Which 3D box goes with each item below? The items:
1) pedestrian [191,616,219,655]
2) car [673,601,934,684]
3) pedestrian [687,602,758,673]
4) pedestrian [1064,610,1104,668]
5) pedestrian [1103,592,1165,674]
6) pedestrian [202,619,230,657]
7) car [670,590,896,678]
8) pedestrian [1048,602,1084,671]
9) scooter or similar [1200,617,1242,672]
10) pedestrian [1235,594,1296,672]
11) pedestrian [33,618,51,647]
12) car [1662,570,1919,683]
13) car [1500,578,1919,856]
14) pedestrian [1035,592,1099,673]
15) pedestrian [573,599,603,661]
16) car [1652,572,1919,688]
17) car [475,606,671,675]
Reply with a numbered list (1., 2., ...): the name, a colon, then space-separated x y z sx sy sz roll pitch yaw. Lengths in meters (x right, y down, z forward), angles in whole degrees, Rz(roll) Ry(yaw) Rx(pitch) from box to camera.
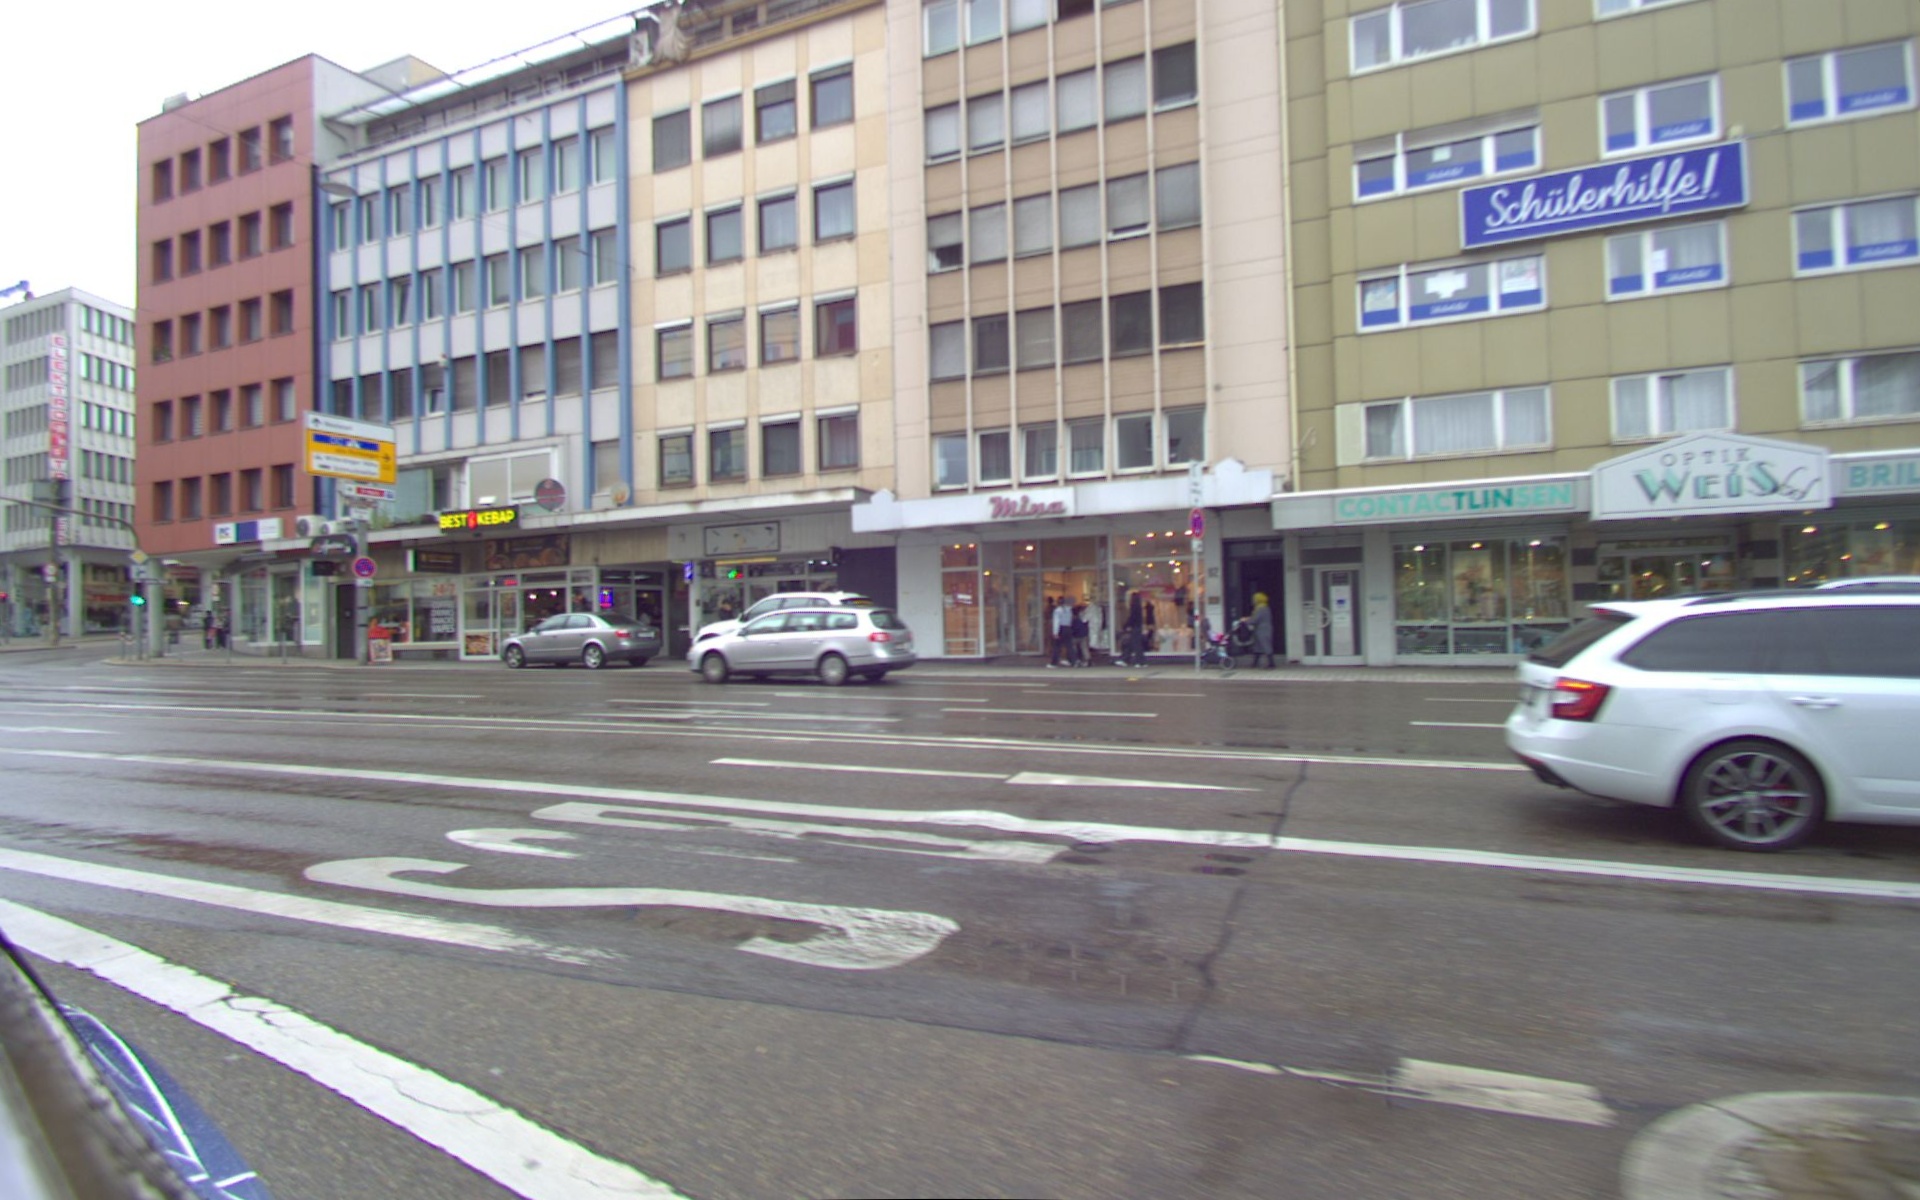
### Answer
1. pedestrian: -35.002 1.635 46.926 0.722 1.761 0.744 -2 0 -5
2. car: -3.017 0.812 19.569 4.717 1.456 1.780 -1 0 20
3. pedestrian: -6.057 0.949 25.828 1.410 1.731 0.948 -2 0 23
4. pedestrian: 2.793 0.879 22.768 0.716 1.259 0.532 -2 0 23
5. pedestrian: 3.763 0.701 21.864 1.079 1.708 0.948 -2 0 23
6. pedestrian: -33.880 1.719 46.077 0.684 1.642 0.734 -2 0 -2
7. car: -4.067 0.769 23.165 4.935 1.841 1.839 -2 0 25
8. pedestrian: 2.459 0.839 23.461 0.640 1.586 0.607 -1 -1 25
9. scooter or similar: 5.314 0.900 20.570 0.696 1.062 0.733 -2 0 23
10. pedestrian: 6.106 0.649 20.202 1.058 1.495 0.664 -2 0 23
11. pedestrian: -52.810 1.852 58.228 0.724 1.635 0.705 -2 -1 42
12. car: 13.191 0.371 15.105 4.179 1.575 1.690 -2 0 26
13. car: 5.802 0.587 5.783 4.602 1.426 1.784 -2 -1 24
14. pedestrian: 2.358 0.707 22.258 1.085 1.727 0.946 -2 0 28
15. pedestrian: -10.543 0.862 28.701 0.581 1.721 0.443 -2 0 25
16. car: 13.240 0.433 15.182 4.372 1.562 1.839 -2 1 24
17. car: -9.901 1.023 25.838 4.852 1.620 1.855 -2 0 25
